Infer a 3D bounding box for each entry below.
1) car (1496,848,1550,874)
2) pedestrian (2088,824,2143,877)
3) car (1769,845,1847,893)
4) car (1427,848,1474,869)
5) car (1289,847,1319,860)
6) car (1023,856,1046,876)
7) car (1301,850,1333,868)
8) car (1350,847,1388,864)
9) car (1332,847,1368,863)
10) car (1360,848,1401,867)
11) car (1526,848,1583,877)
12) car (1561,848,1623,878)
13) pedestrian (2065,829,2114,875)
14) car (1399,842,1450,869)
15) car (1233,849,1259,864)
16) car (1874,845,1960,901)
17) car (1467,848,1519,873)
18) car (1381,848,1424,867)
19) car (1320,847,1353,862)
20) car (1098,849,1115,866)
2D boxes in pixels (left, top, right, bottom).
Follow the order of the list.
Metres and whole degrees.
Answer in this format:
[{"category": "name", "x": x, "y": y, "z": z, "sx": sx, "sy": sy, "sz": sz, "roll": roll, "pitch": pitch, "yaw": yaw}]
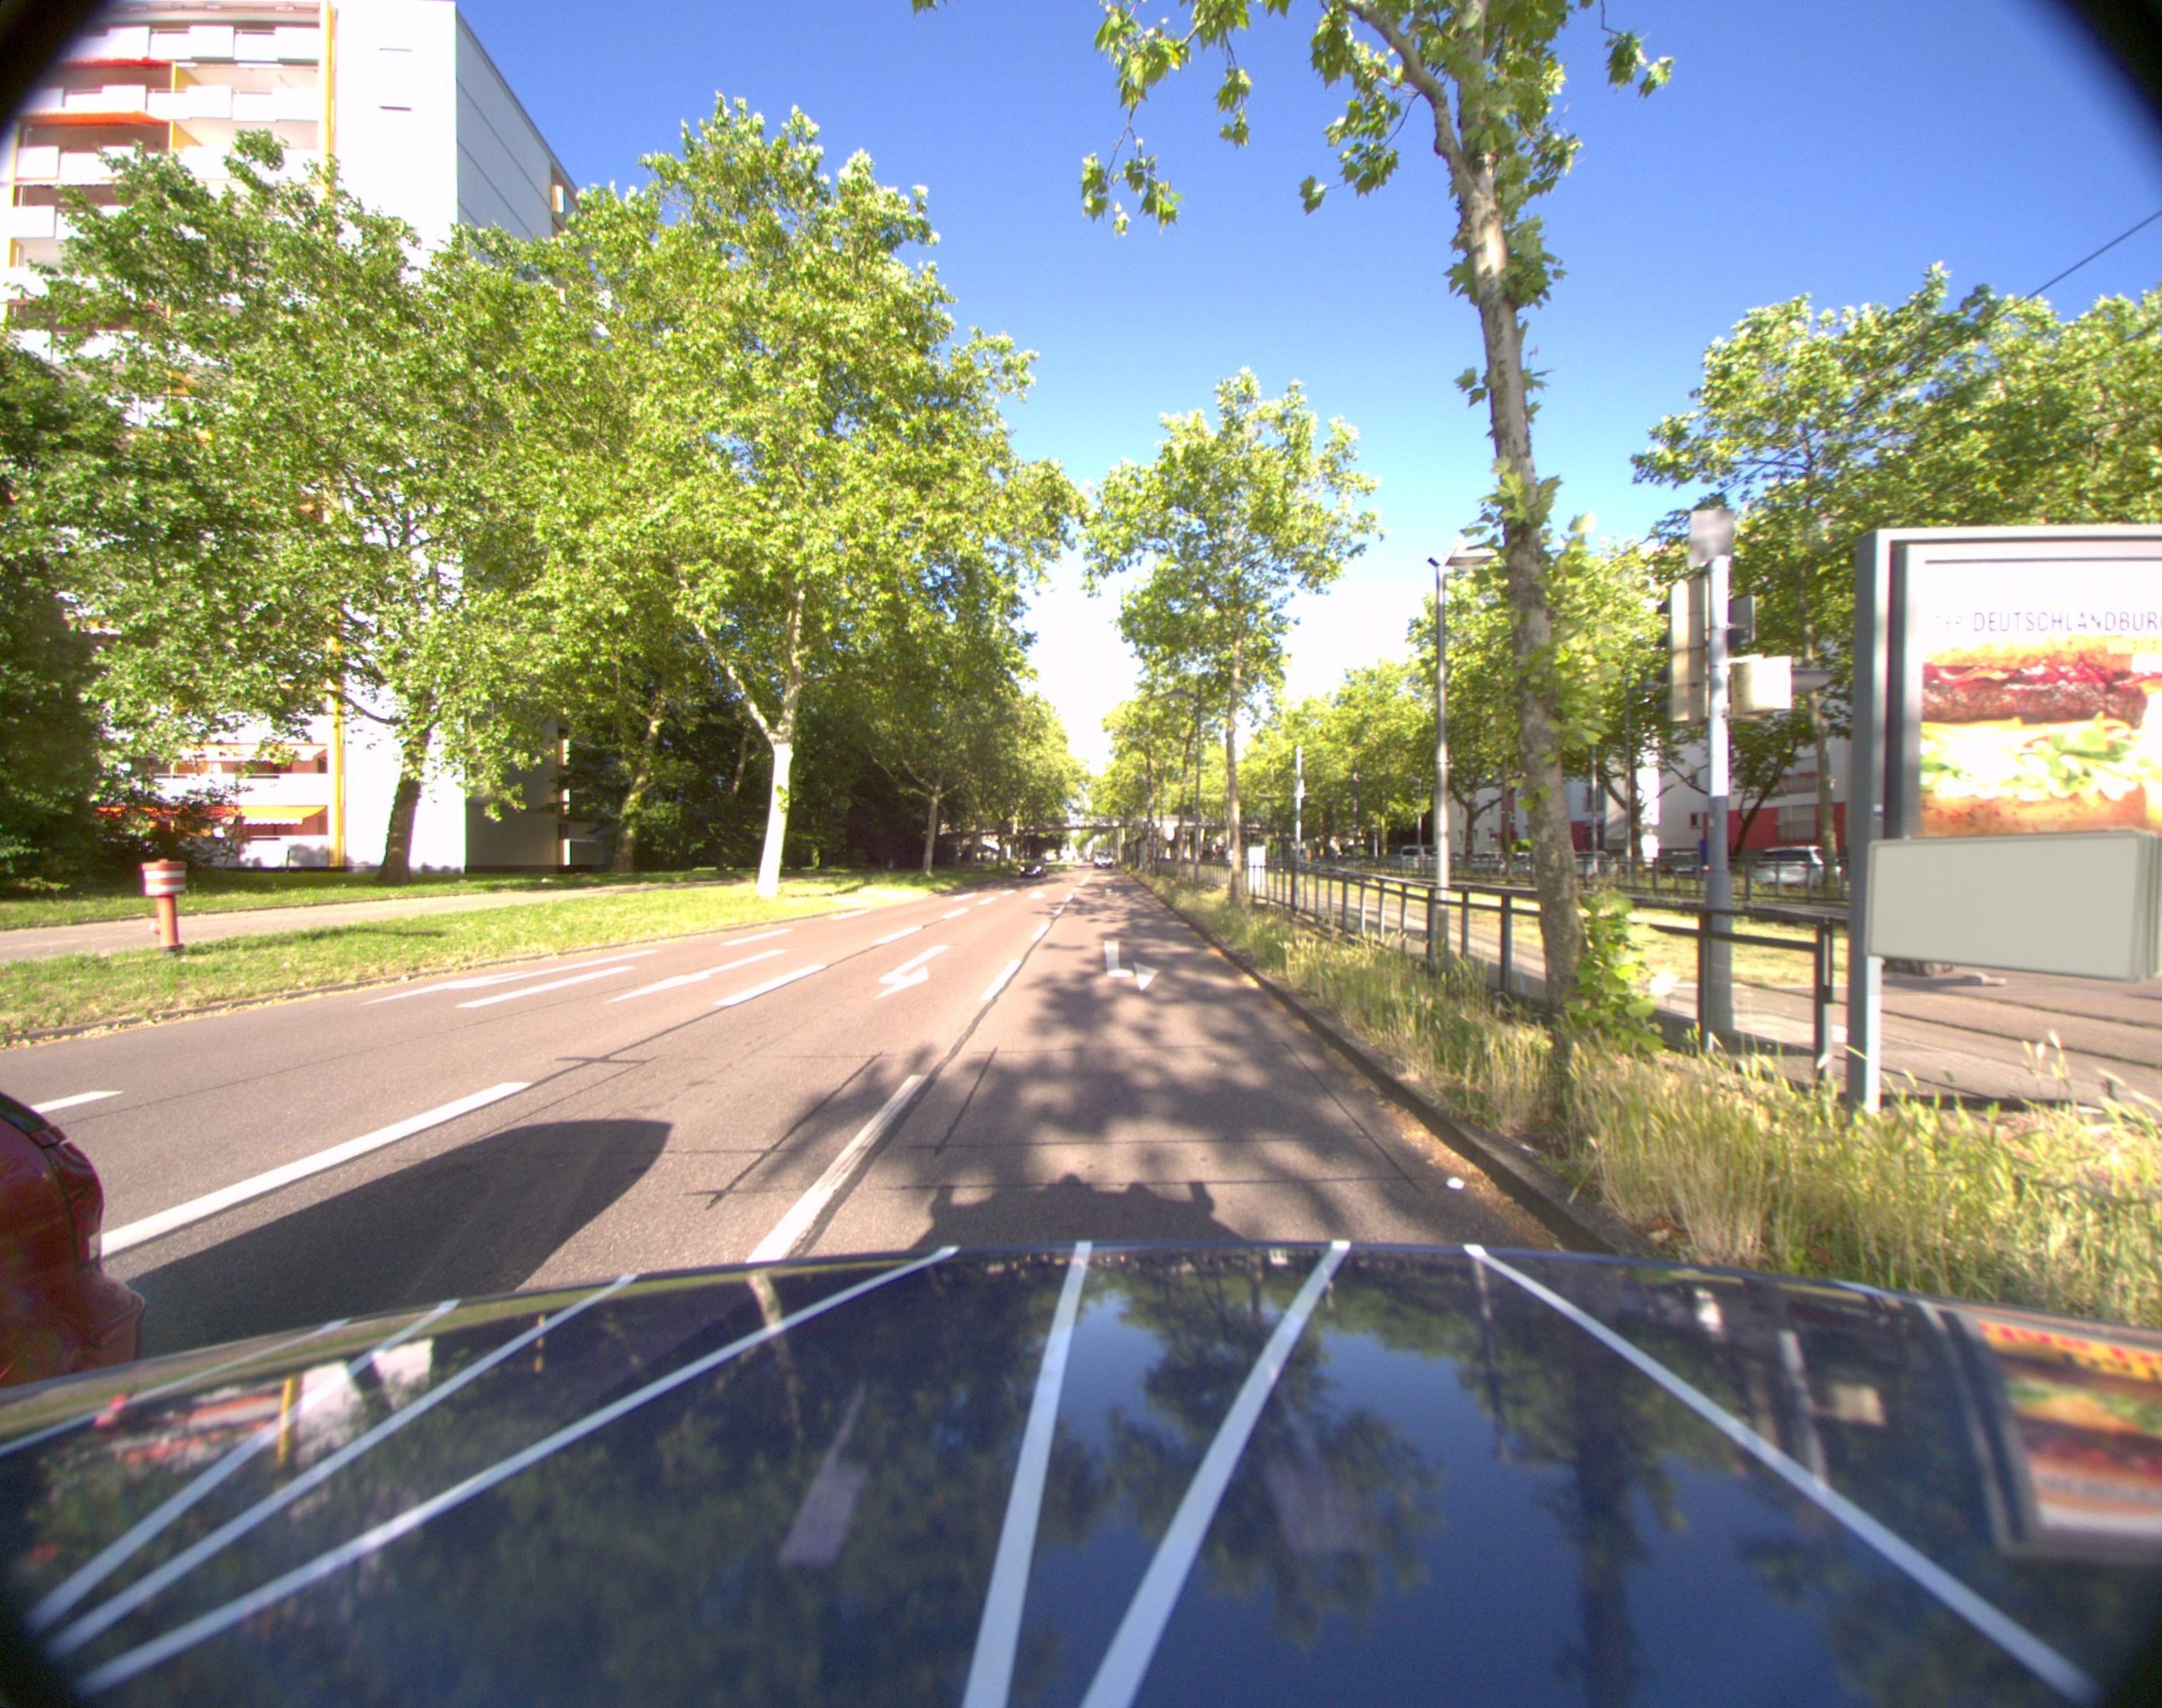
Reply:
[{"category": "car", "x": 26.103, "y": 0.402, "z": 44.859, "sx": 3.811, "sy": 1.433, "sz": 1.652, "roll": -2, "pitch": 0, "yaw": -42}, {"category": "pedestrian", "x": 34.798, "y": -0.119, "z": 25.561, "sx": 0.764, "sy": 1.723, "sz": 0.786, "roll": -2, "pitch": 1, "yaw": -1}, {"category": "car", "x": 25.362, "y": 0.485, "z": 26.470, "sx": 3.811, "sy": 1.501, "sz": 1.652, "roll": -2, "pitch": 0, "yaw": -42}, {"category": "car", "x": 26.306, "y": 0.306, "z": 54.027, "sx": 3.811, "sy": 1.433, "sz": 1.652, "roll": -2, "pitch": 0, "yaw": -42}, {"category": "car", "x": 26.443, "y": -0.052, "z": 89.970, "sx": 3.811, "sy": 1.433, "sz": 1.652, "roll": -2, "pitch": 0, "yaw": -42}, {"category": "car", "x": -3.519, "y": 0.882, "z": 57.948, "sx": 1.580, "sy": 1.395, "sz": 3.638, "roll": -2, "pitch": 0, "yaw": 0}, {"category": "car", "x": 21.517, "y": 0.429, "z": 69.491, "sx": 1.655, "sy": 1.609, "sz": 4.294, "roll": -2, "pitch": 0, "yaw": 1}, {"category": "car", "x": 26.623, "y": 0.131, "z": 70.129, "sx": 3.811, "sy": 1.433, "sz": 1.652, "roll": -2, "pitch": 0, "yaw": -42}, {"category": "car", "x": 26.070, "y": 0.129, "z": 73.560, "sx": 3.811, "sy": 1.433, "sz": 1.652, "roll": -2, "pitch": 0, "yaw": -42}, {"category": "car", "x": 24.947, "y": 0.268, "z": 63.204, "sx": 3.811, "sy": 1.433, "sz": 1.652, "roll": -2, "pitch": 0, "yaw": -42}, {"category": "car", "x": 25.868, "y": 0.438, "z": 41.474, "sx": 3.811, "sy": 1.433, "sz": 1.652, "roll": -2, "pitch": 0, "yaw": -42}, {"category": "car", "x": 25.387, "y": 0.443, "z": 37.693, "sx": 3.811, "sy": 1.348, "sz": 1.652, "roll": -2, "pitch": 0, "yaw": -42}, {"category": "pedestrian", "x": 36.632, "y": -0.064, "z": 27.605, "sx": 0.764, "sy": 1.614, "sz": 0.786, "roll": -2, "pitch": 1, "yaw": -1}, {"category": "car", "x": 25.822, "y": 0.085, "z": 57.025, "sx": 4.330, "sy": 1.863, "sz": 1.836, "roll": -2, "pitch": 0, "yaw": -42}, {"category": "car", "x": 21.547, "y": 0.323, "z": 99.242, "sx": 1.832, "sy": 1.811, "sz": 4.900, "roll": -2, "pitch": 0, "yaw": -6}, {"category": "car", "x": 25.249, "y": 0.520, "z": 22.962, "sx": 3.811, "sy": 1.501, "sz": 1.652, "roll": -2, "pitch": 0, "yaw": -42}, {"category": "car", "x": 25.855, "y": 0.393, "z": 47.674, "sx": 3.811, "sy": 1.433, "sz": 1.652, "roll": -2, "pitch": 0, "yaw": -42}, {"category": "car", "x": 25.734, "y": 0.265, "z": 60.747, "sx": 3.811, "sy": 1.433, "sz": 1.652, "roll": -2, "pitch": 0, "yaw": -42}, {"category": "car", "x": 26.790, "y": 0.041, "z": 79.620, "sx": 3.811, "sy": 1.433, "sz": 1.652, "roll": -2, "pitch": 0, "yaw": -42}, {"category": "car", "x": 2.934, "y": 0.394, "z": 87.502, "sx": 1.906, "sy": 1.924, "sz": 4.720, "roll": -2, "pitch": 0, "yaw": 2}]
